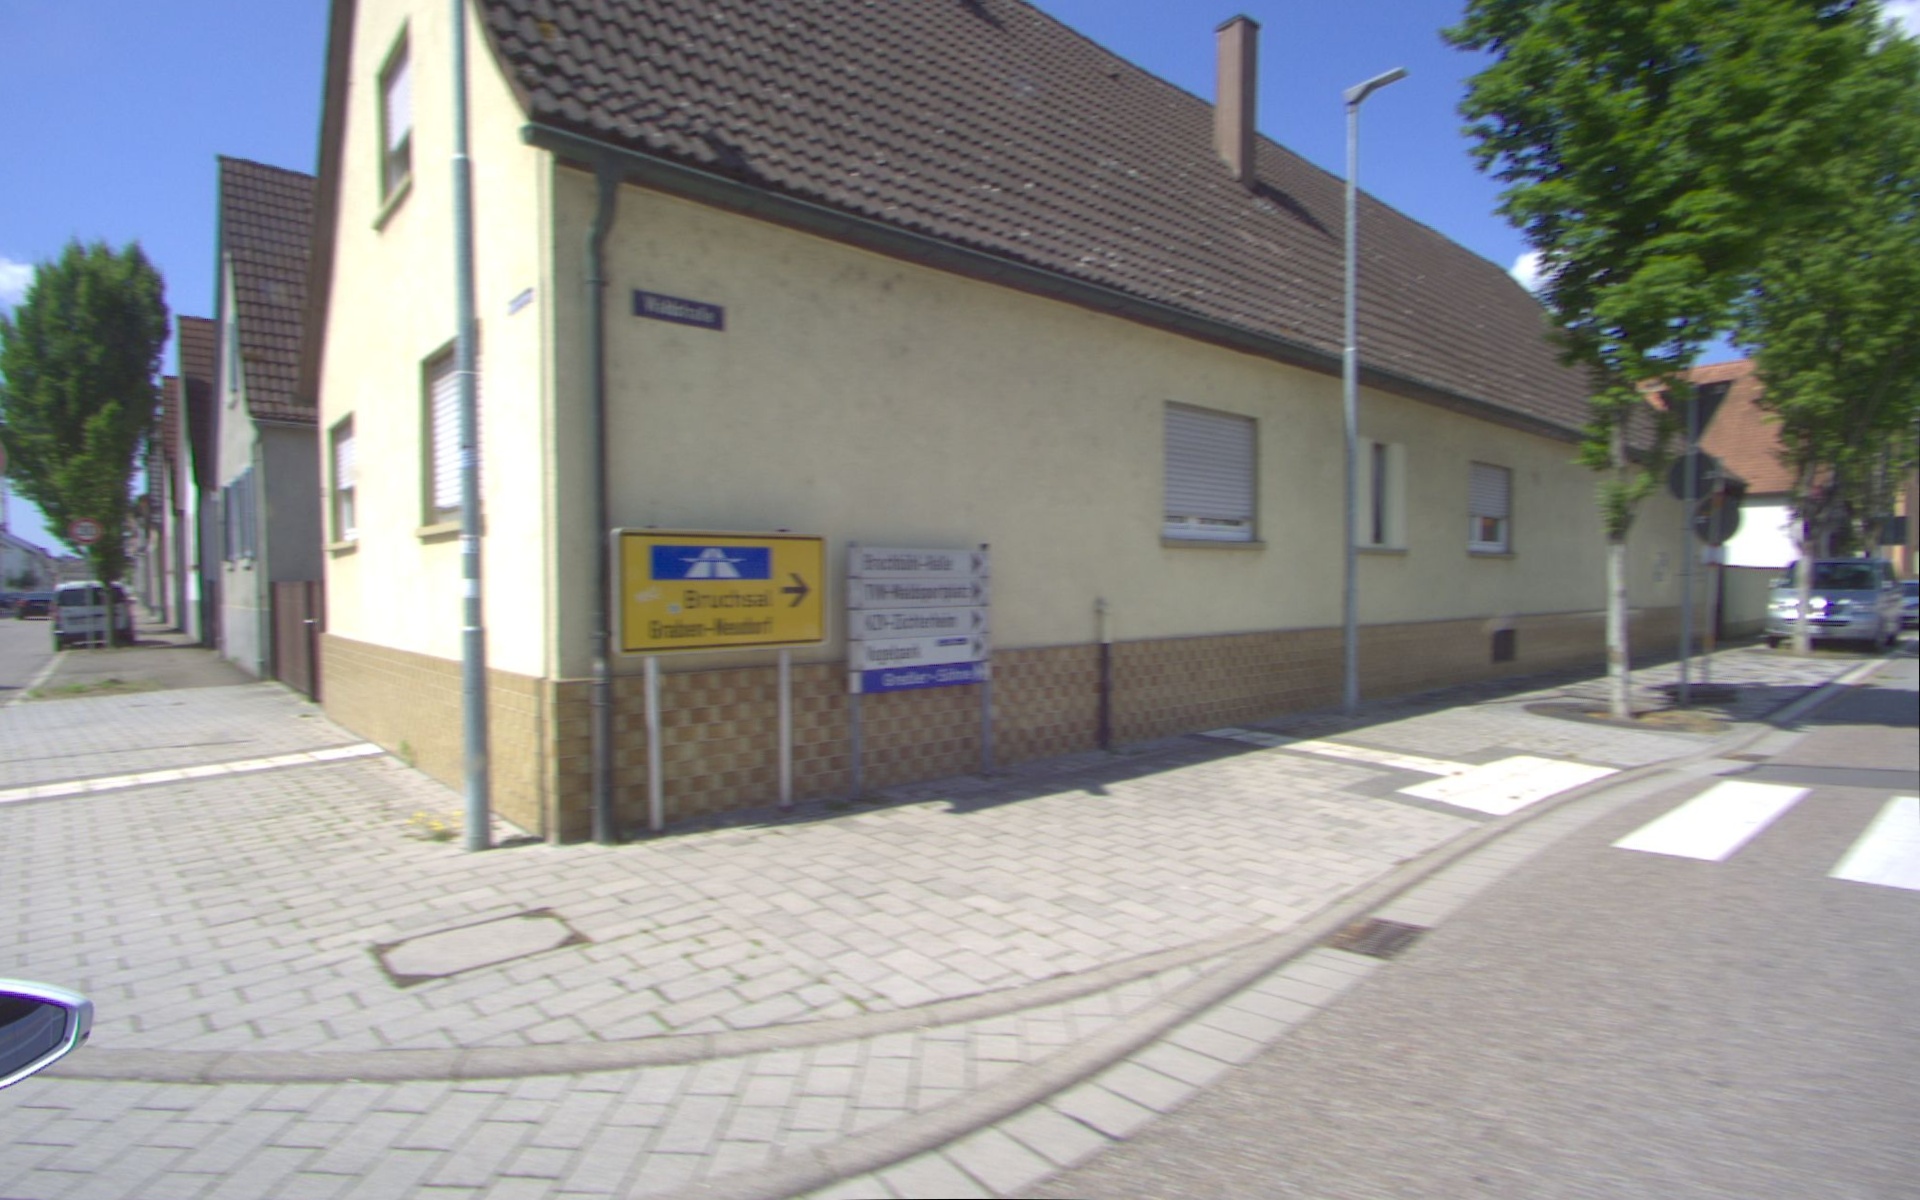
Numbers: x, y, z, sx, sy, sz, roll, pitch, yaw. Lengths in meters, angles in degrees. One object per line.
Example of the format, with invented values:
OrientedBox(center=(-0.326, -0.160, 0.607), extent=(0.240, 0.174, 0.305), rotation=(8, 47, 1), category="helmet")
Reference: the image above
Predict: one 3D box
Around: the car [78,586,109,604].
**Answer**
OrientedBox(center=(-66.695, -0.381, 77.086), extent=(1.706, 1.373, 4.121), rotation=(0, 1, -40), category="car")

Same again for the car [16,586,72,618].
OrientedBox(center=(-48.456, 0.088, 53.038), extent=(1.886, 1.585, 4.439), rotation=(0, 1, -39), category="car")

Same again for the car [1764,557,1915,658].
OrientedBox(center=(19.255, 0.099, 21.860), extent=(4.432, 1.965, 1.980), rotation=(-1, 3, -43), category="car")

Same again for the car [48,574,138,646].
OrientedBox(center=(-24.235, 0.227, 27.996), extent=(1.706, 1.815, 4.105), rotation=(-3, 3, -41), category="car")

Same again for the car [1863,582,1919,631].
OrientedBox(center=(28.870, 0.173, 30.523), extent=(3.523, 1.400, 1.670), rotation=(-1, 2, -43), category="car")

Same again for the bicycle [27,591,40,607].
OrientedBox(center=(-81.222, -0.086, 87.801), extent=(0.745, 1.325, 2.662), rotation=(1, 0, -40), category="bicycle")

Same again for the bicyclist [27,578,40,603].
OrientedBox(center=(-81.199, -0.825, 87.753), extent=(0.734, 2.086, 0.837), rotation=(1, 0, -41), category="bicyclist")

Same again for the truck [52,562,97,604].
OrientedBox(center=(-94.814, -1.728, 107.336), extent=(3.119, 4.306, 9.226), rotation=(1, -1, -39), category="truck")

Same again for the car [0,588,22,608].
OrientedBox(center=(-77.659, -0.195, 81.411), extent=(1.795, 1.610, 3.964), rotation=(0, 1, -41), category="car")
